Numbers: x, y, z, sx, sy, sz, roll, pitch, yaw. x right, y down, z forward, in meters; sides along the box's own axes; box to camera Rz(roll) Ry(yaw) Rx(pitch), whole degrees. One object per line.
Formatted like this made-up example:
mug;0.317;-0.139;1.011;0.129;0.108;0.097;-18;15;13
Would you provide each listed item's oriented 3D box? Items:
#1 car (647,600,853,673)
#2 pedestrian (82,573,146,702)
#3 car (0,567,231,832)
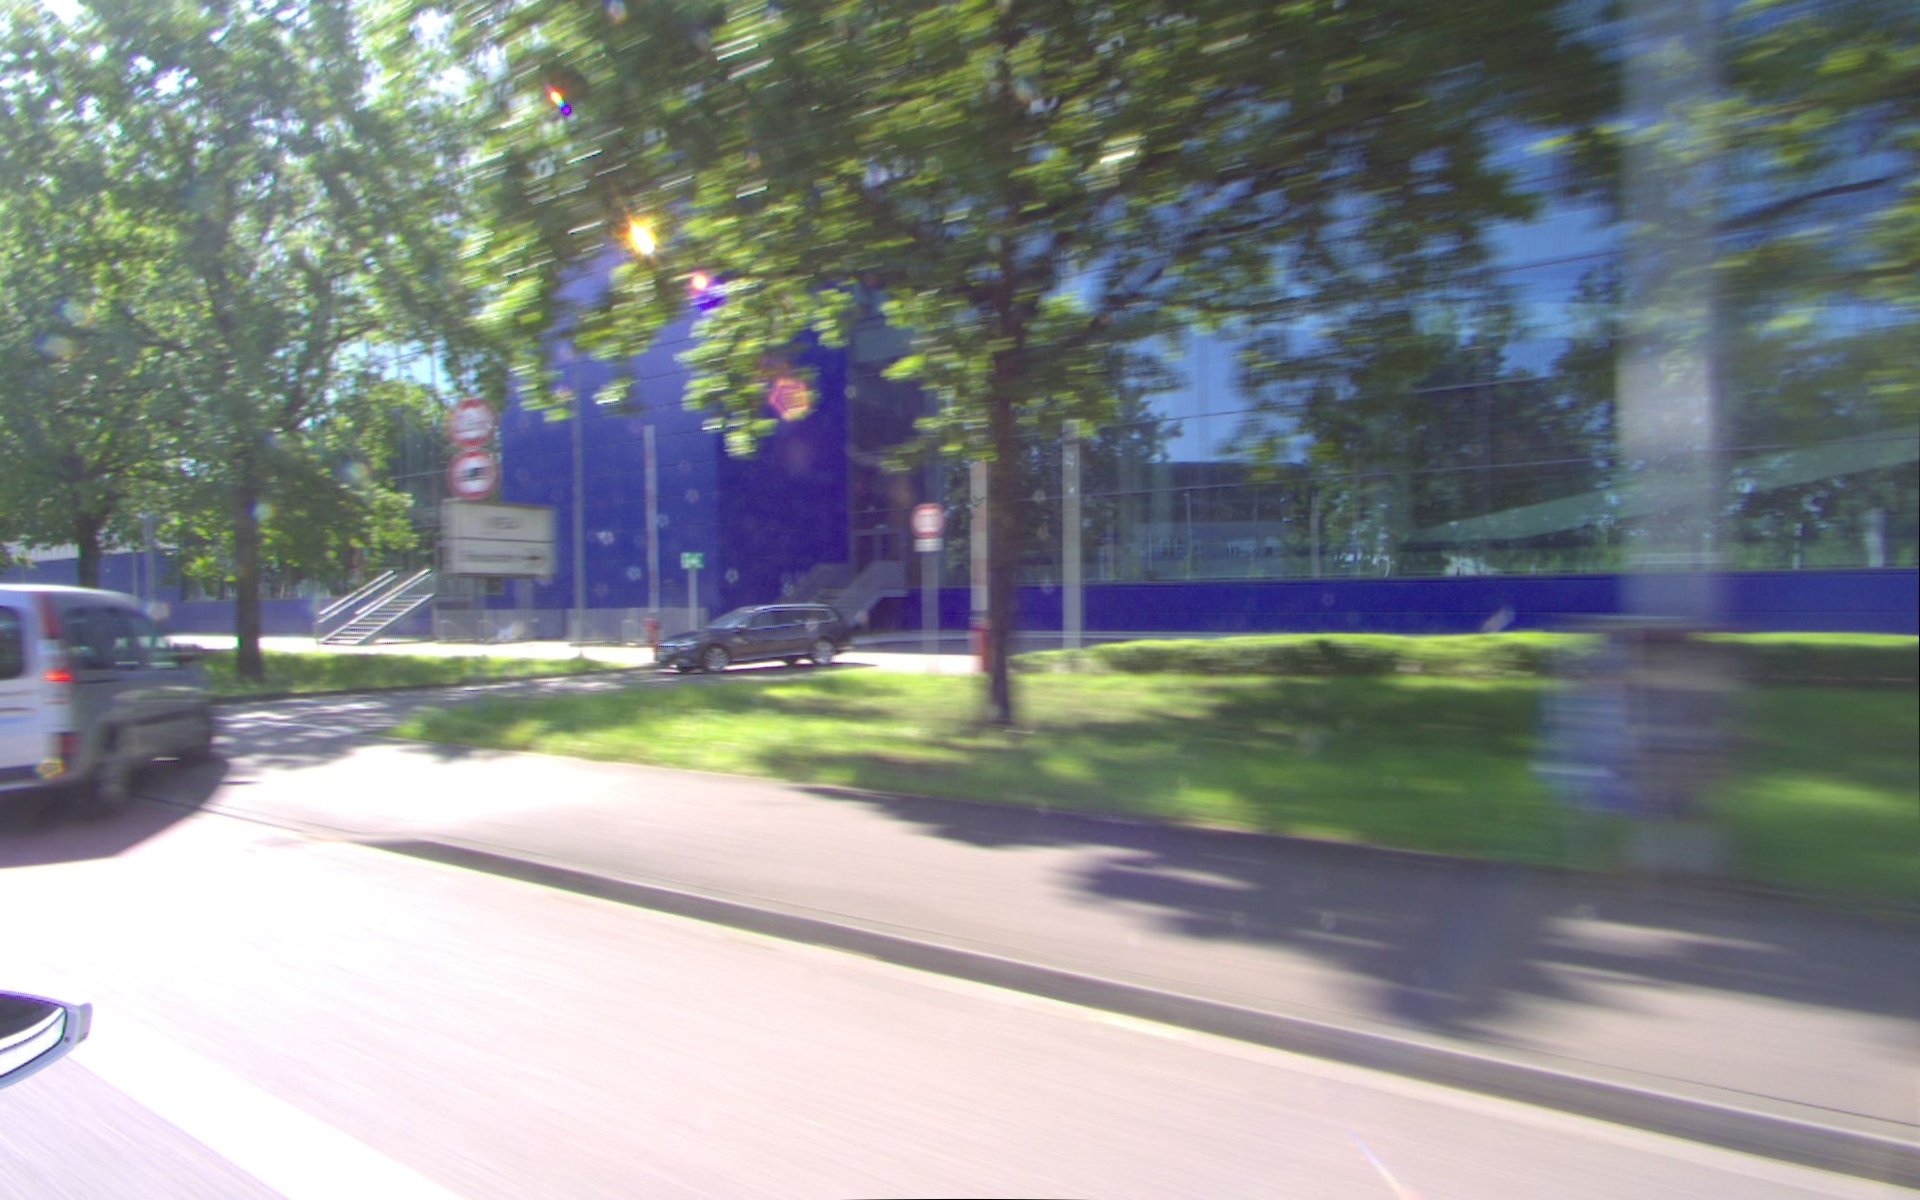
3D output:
car;-4.856;0.782;23.381;4.318;1.540;1.898;0;0;-35
pedestrian;-12.597;0.543;14.911;0.717;1.866;0.534;0;1;33
car;-7.984;0.717;8.689;1.881;1.853;4.164;-1;0;-25
